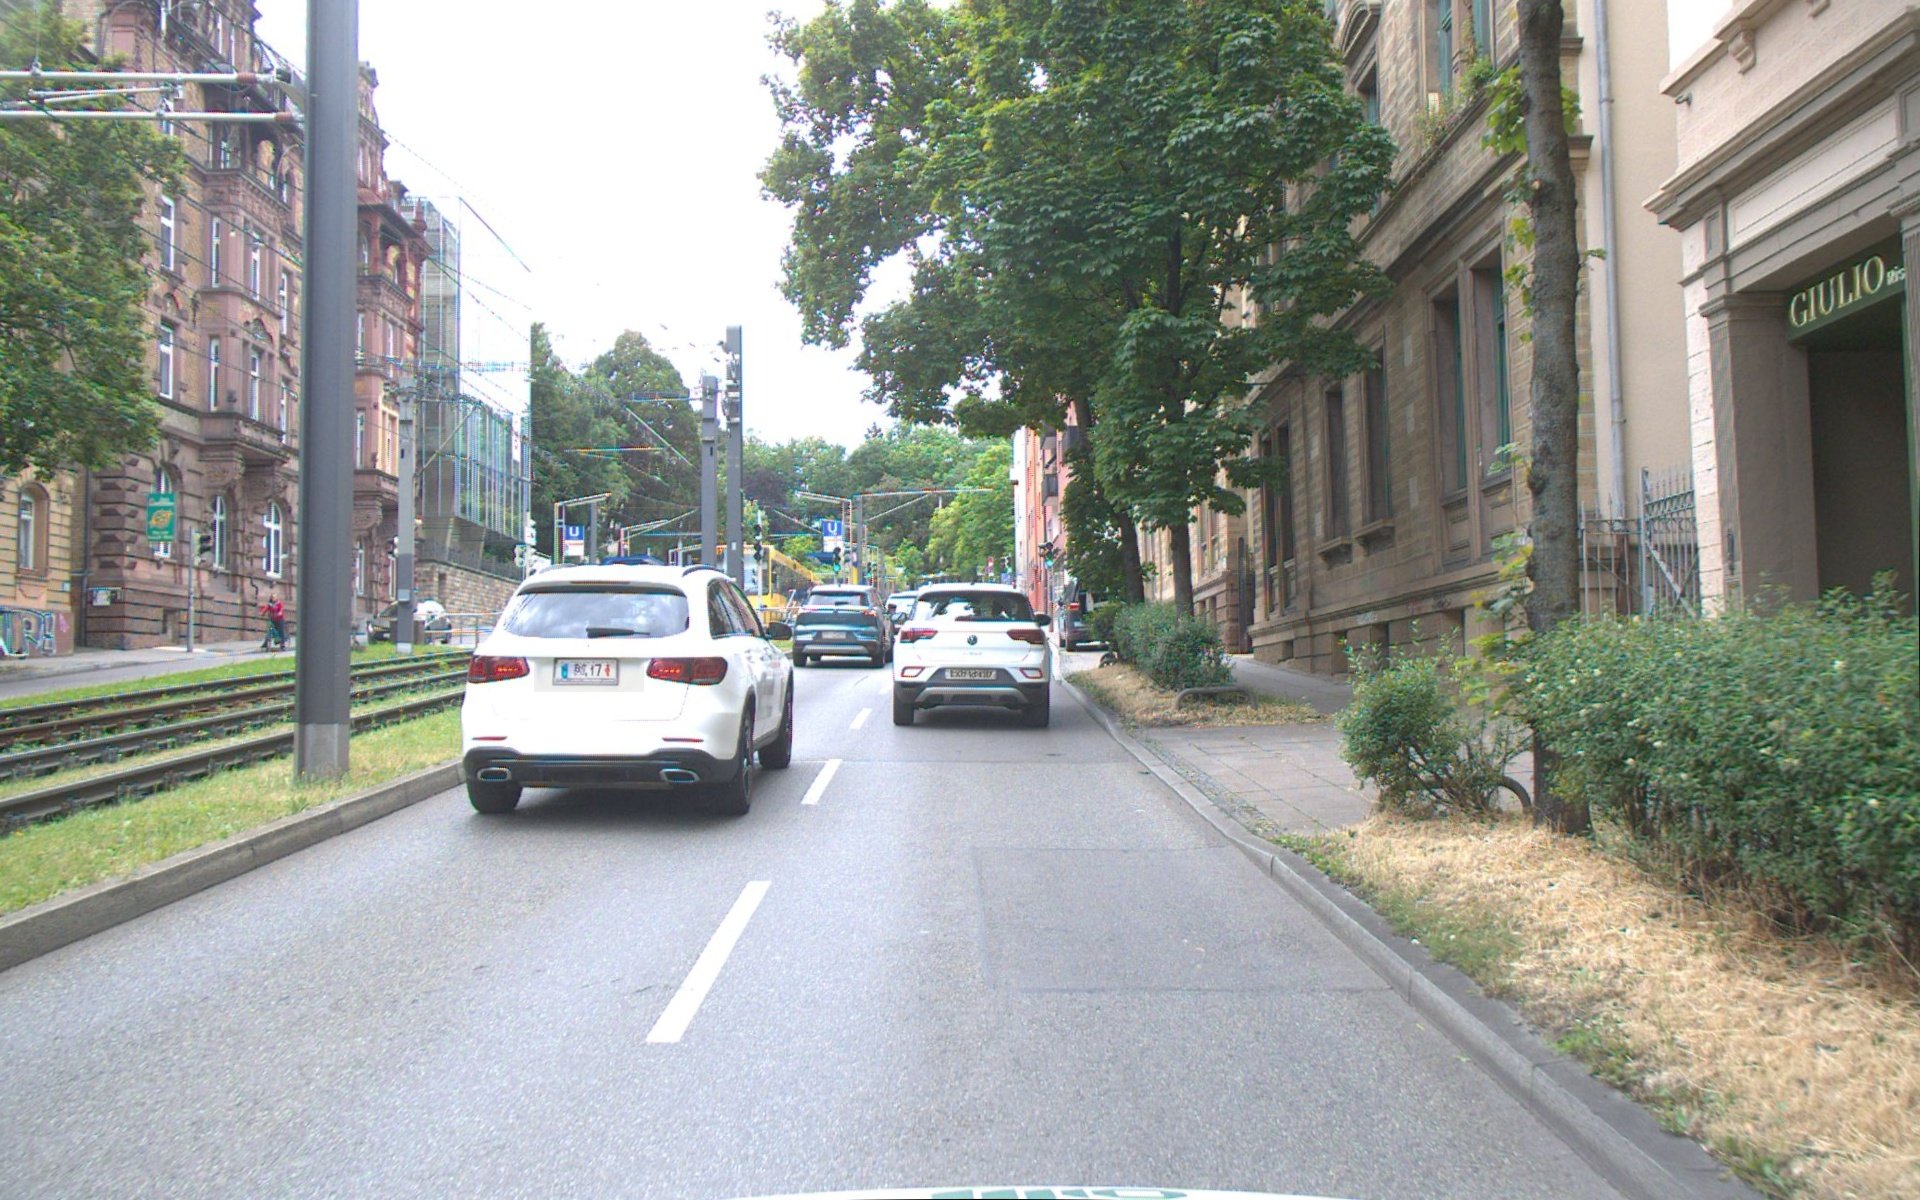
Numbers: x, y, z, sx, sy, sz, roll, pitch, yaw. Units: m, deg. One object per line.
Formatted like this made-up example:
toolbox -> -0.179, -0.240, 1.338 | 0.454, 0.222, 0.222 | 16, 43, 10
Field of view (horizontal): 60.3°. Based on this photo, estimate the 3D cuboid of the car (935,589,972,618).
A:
car -> -0.382, 0.165, 92.992 | 2.026, 1.573, 4.193 | 1, 0, 0

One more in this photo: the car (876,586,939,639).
car -> -1.600, 0.367, 51.662 | 1.798, 1.573, 4.193 | 1, 0, 0

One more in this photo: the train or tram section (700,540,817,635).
train or tram section -> -7.915, -0.507, 66.993 | 2.934, 3.407, 13.439 | -1, 0, 0

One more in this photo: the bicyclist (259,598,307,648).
bicyclist -> -20.244, 0.666, 49.499 | 0.919, 1.450, 1.188 | -1, 0, -1

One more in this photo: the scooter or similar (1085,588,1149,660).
scooter or similar -> 2.584, 0.399, 27.223 | 1.015, 1.138, 0.331 | -2, 0, 6

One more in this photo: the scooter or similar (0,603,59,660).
scooter or similar -> -22.291, 0.729, 39.327 | 0.616, 1.277, 2.214 | -1, 0, -3

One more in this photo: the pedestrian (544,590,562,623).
pedestrian -> -22.306, 0.337, 90.665 | 0.792, 1.786, 0.816 | -1, 0, 0

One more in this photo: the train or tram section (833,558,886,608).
train or tram section -> -7.249, -1.190, 121.012 | 2.934, 3.407, 13.439 | -1, 0, 0

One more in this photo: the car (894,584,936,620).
car -> -2.009, 0.067, 74.737 | 1.798, 1.573, 4.193 | 1, 0, 0

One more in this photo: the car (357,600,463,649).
car -> -17.256, 0.755, 52.106 | 1.952, 1.427, 4.000 | -1, 0, 0

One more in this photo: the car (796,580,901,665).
car -> -2.168, 0.405, 33.065 | 1.798, 1.573, 4.193 | 1, 0, 0

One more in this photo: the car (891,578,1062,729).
car -> 0.127, 0.554, 19.590 | 1.798, 1.573, 4.192 | 1, 0, -1

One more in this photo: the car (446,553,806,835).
car -> -2.246, 0.559, 12.405 | 1.798, 1.696, 4.670 | 1, 0, -1

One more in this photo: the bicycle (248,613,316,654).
bicycle -> -20.245, 0.993, 49.458 | 0.919, 1.119, 2.702 | -1, 1, -1

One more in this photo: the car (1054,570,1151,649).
car -> 3.200, 0.189, 37.858 | 1.798, 1.629, 4.193 | -2, 0, 0

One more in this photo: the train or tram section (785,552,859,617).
train or tram section -> -7.704, -0.847, 94.041 | 2.934, 3.407, 13.439 | -1, 0, 0
